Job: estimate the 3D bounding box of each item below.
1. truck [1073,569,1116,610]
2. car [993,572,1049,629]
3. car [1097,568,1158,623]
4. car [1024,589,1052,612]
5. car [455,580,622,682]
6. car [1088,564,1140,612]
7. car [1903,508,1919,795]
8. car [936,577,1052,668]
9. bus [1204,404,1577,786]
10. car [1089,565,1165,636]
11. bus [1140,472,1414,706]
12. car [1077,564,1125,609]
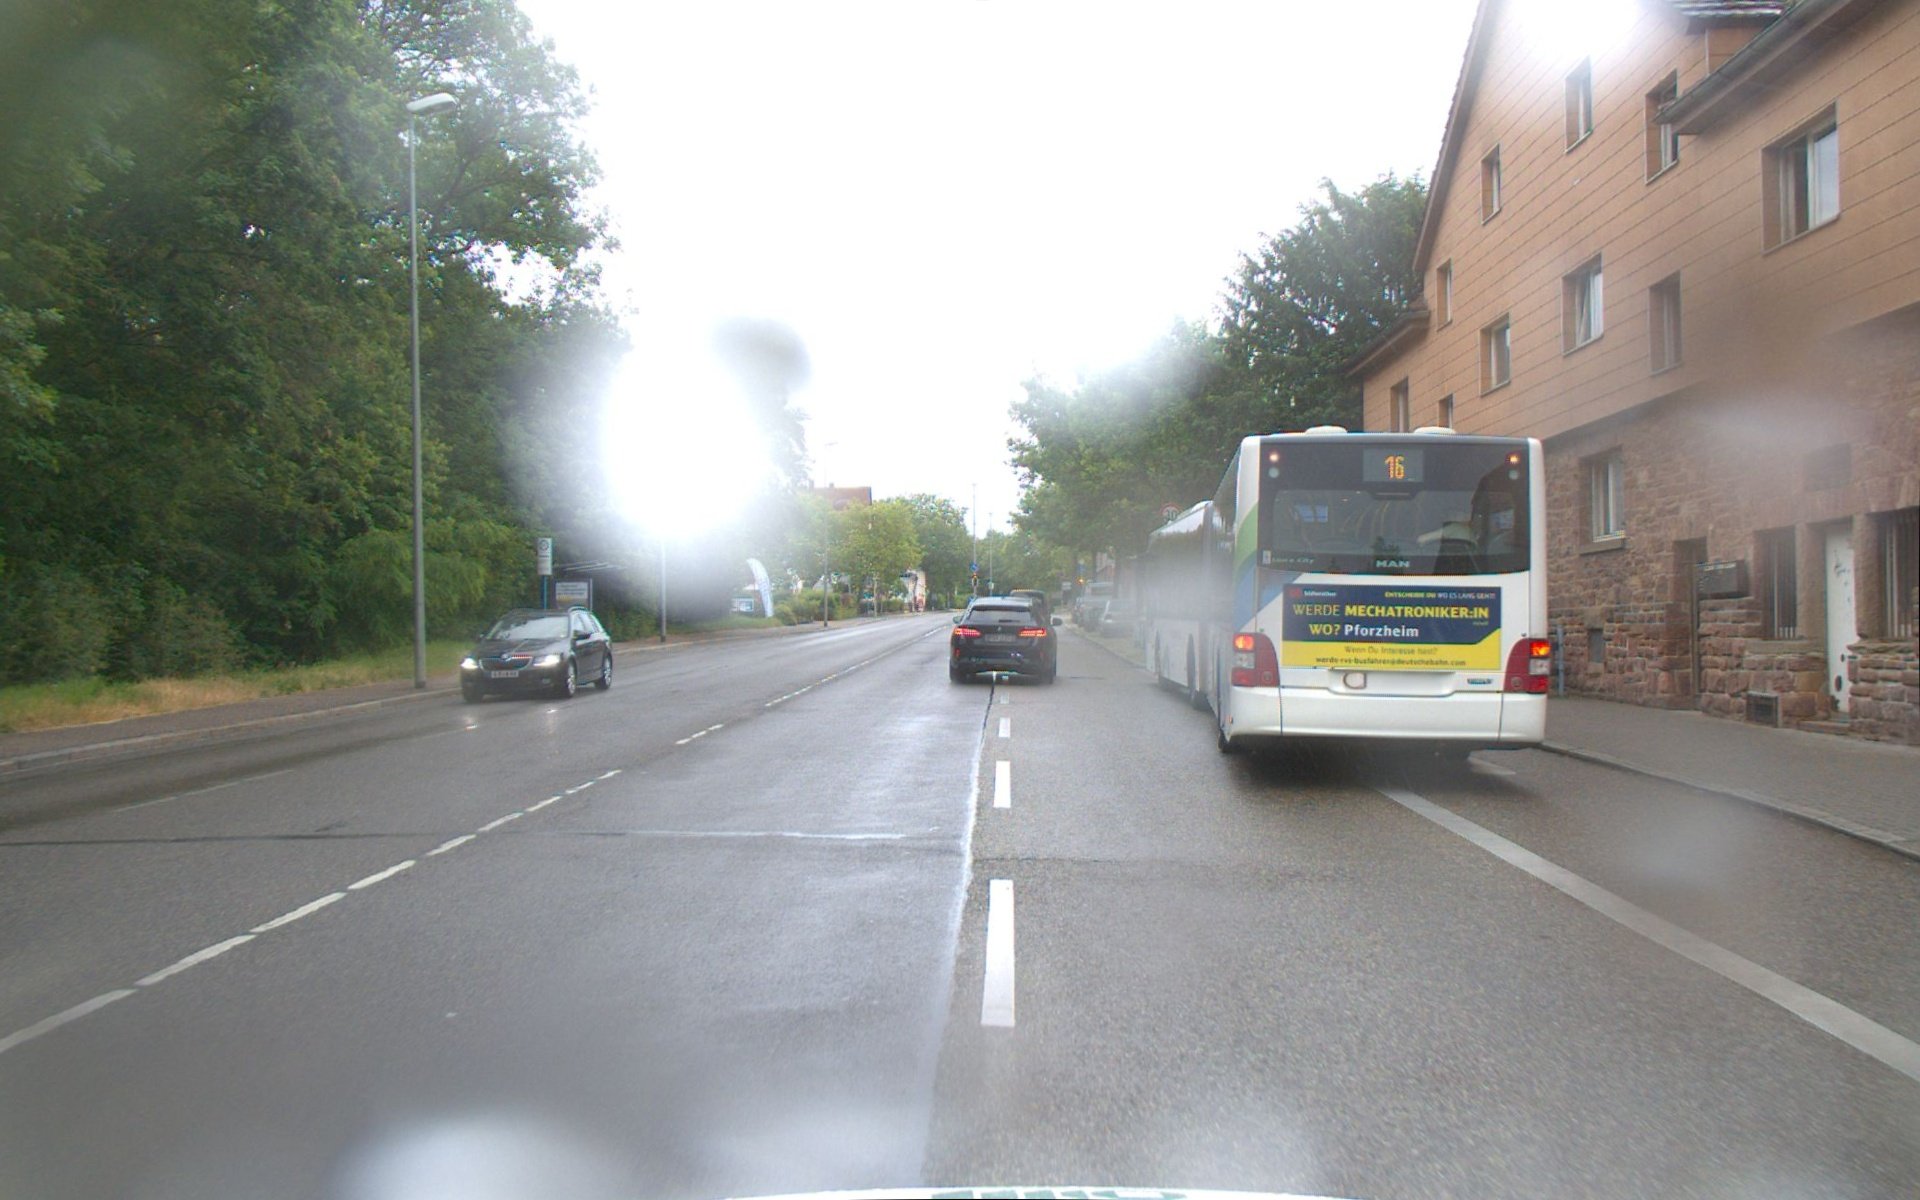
[{"bbox_3d":[6.988,-0.552,86.060,1.952,2.048,4.001,0,1,0],"label":"truck"},{"bbox_3d":[2.255,0.000,61.440,1.952,2.049,4.001,1,1,2],"label":"car"},{"bbox_3d":[6.402,-0.205,63.419,1.952,2.048,4.001,0,1,0],"label":"car"},{"bbox_3d":[5.566,0.039,117.817,1.827,1.545,4.001,0,1,0],"label":"car"},{"bbox_3d":[-7.028,0.470,27.968,1.733,1.560,4.001,-1,1,1],"label":"car"},{"bbox_3d":[6.792,-0.574,73.372,1.952,2.048,4.001,0,1,0],"label":"car"},{"bbox_3d":[4.935,0.479,5.147,1.886,1.925,4.765,-3,-1,10],"label":"car"},{"bbox_3d":[0.630,0.363,30.790,1.952,1.478,4.001,3,1,1],"label":"car"},{"bbox_3d":[3.907,-0.087,16.858,2.567,2.897,8.295,-1,1,7],"label":"bus"},{"bbox_3d":[5.070,-0.029,50.631,1.952,2.048,4.001,0,1,0],"label":"car"},{"bbox_3d":[4.526,-0.203,25.753,2.569,2.897,9.796,-1,1,1],"label":"bus"},{"bbox_3d":[6.617,-0.681,77.871,1.952,2.048,4.001,0,1,0],"label":"car"}]
